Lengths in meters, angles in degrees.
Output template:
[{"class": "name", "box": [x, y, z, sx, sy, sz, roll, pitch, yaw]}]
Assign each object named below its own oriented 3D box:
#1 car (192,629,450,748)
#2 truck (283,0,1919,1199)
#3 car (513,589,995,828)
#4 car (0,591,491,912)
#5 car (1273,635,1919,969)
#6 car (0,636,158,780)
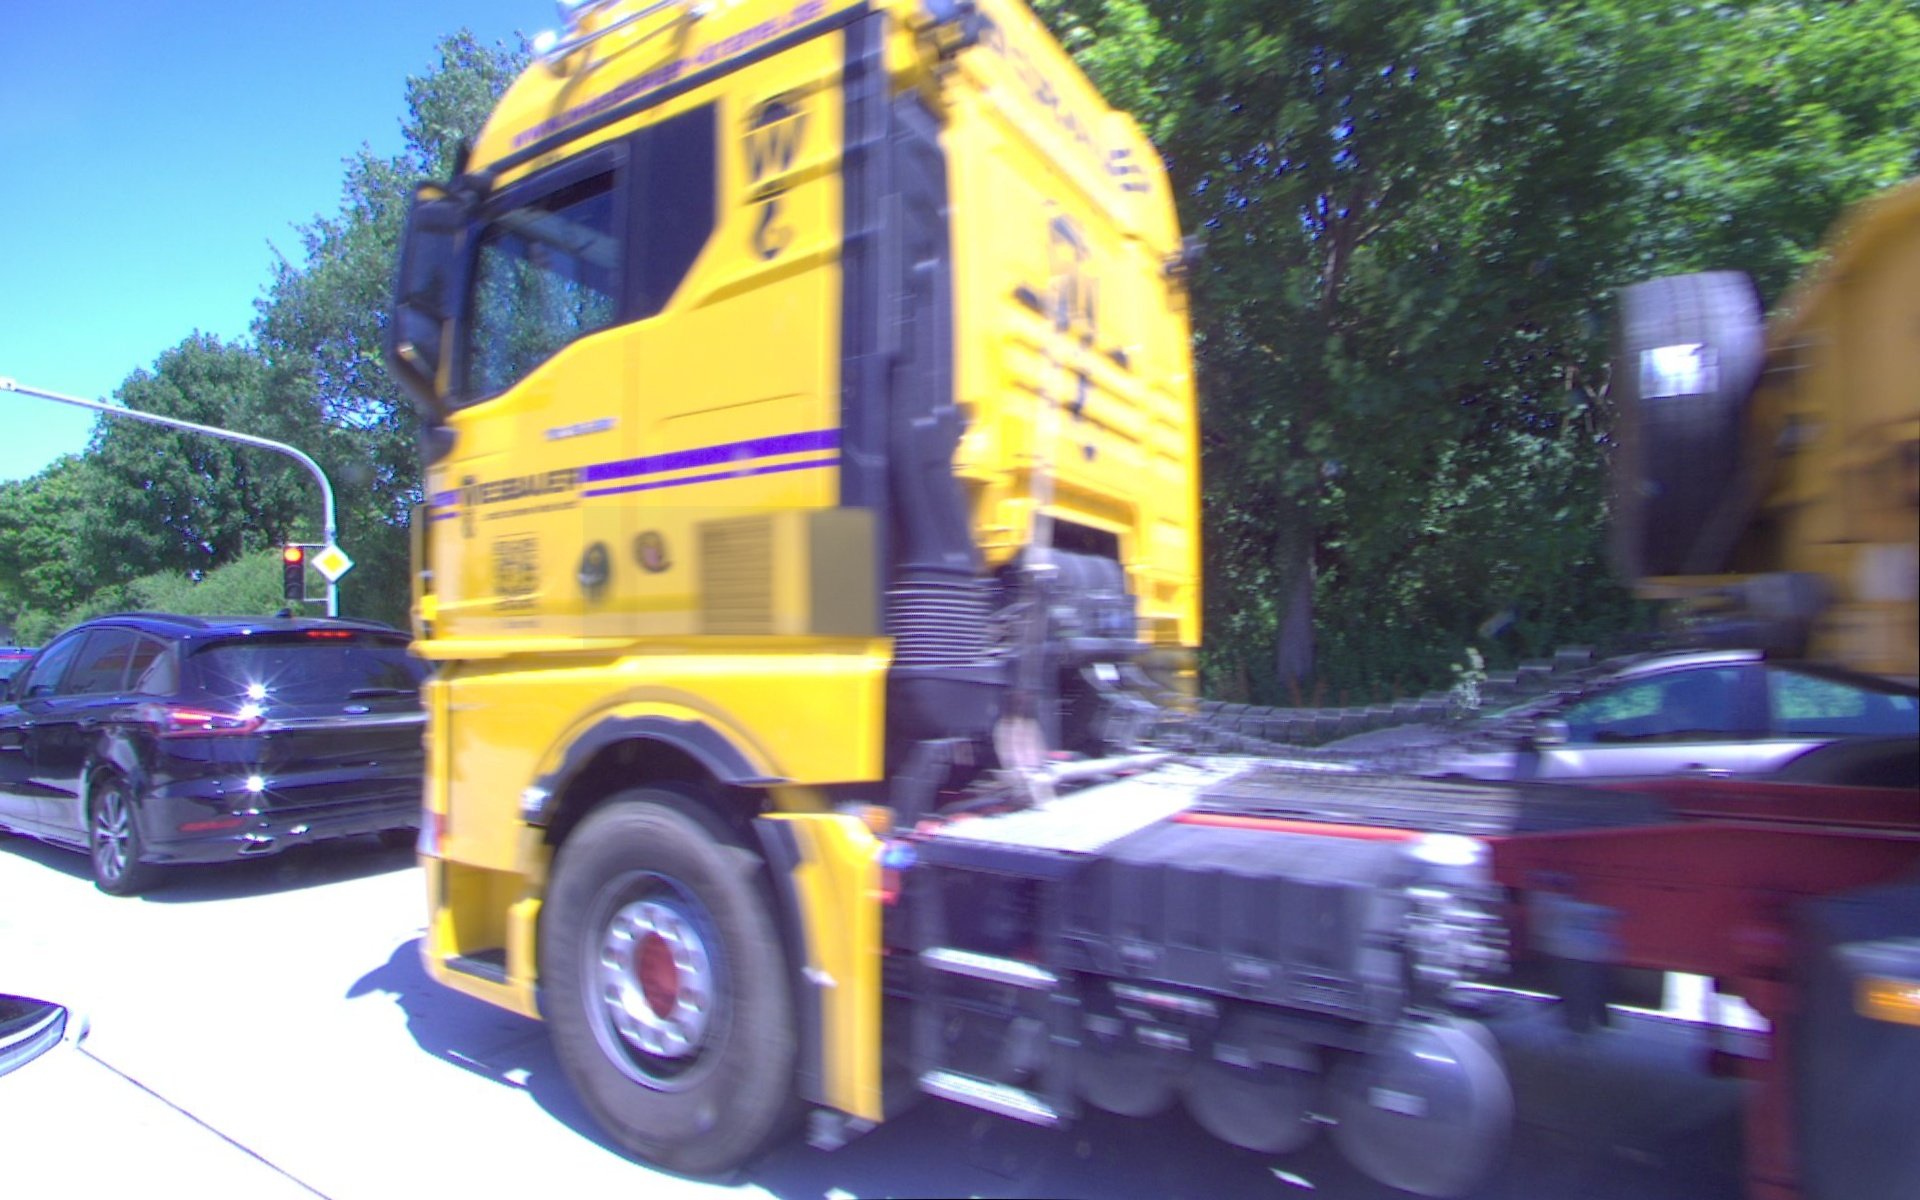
[{"class": "car", "box": [-9.329, 1.211, 14.591, 3.598, 1.528, 1.765, -2, -2, 31]}, {"class": "truck", "box": [1.602, -0.378, 2.846, 7.360, 3.820, 3.010, -1, -2, 31]}, {"class": "car", "box": [-2.137, 0.920, 9.739, 4.725, 1.830, 1.764, -2, -2, 33]}, {"class": "car", "box": [-5.542, 0.871, 7.184, 4.581, 1.660, 1.781, -2, -2, 32]}, {"class": "car", "box": [4.126, 0.946, 5.556, 4.298, 1.480, 1.766, -2, -2, 29]}, {"class": "car", "box": [-11.186, 1.146, 11.598, 4.548, 1.428, 1.763, -2, -2, 35]}]
